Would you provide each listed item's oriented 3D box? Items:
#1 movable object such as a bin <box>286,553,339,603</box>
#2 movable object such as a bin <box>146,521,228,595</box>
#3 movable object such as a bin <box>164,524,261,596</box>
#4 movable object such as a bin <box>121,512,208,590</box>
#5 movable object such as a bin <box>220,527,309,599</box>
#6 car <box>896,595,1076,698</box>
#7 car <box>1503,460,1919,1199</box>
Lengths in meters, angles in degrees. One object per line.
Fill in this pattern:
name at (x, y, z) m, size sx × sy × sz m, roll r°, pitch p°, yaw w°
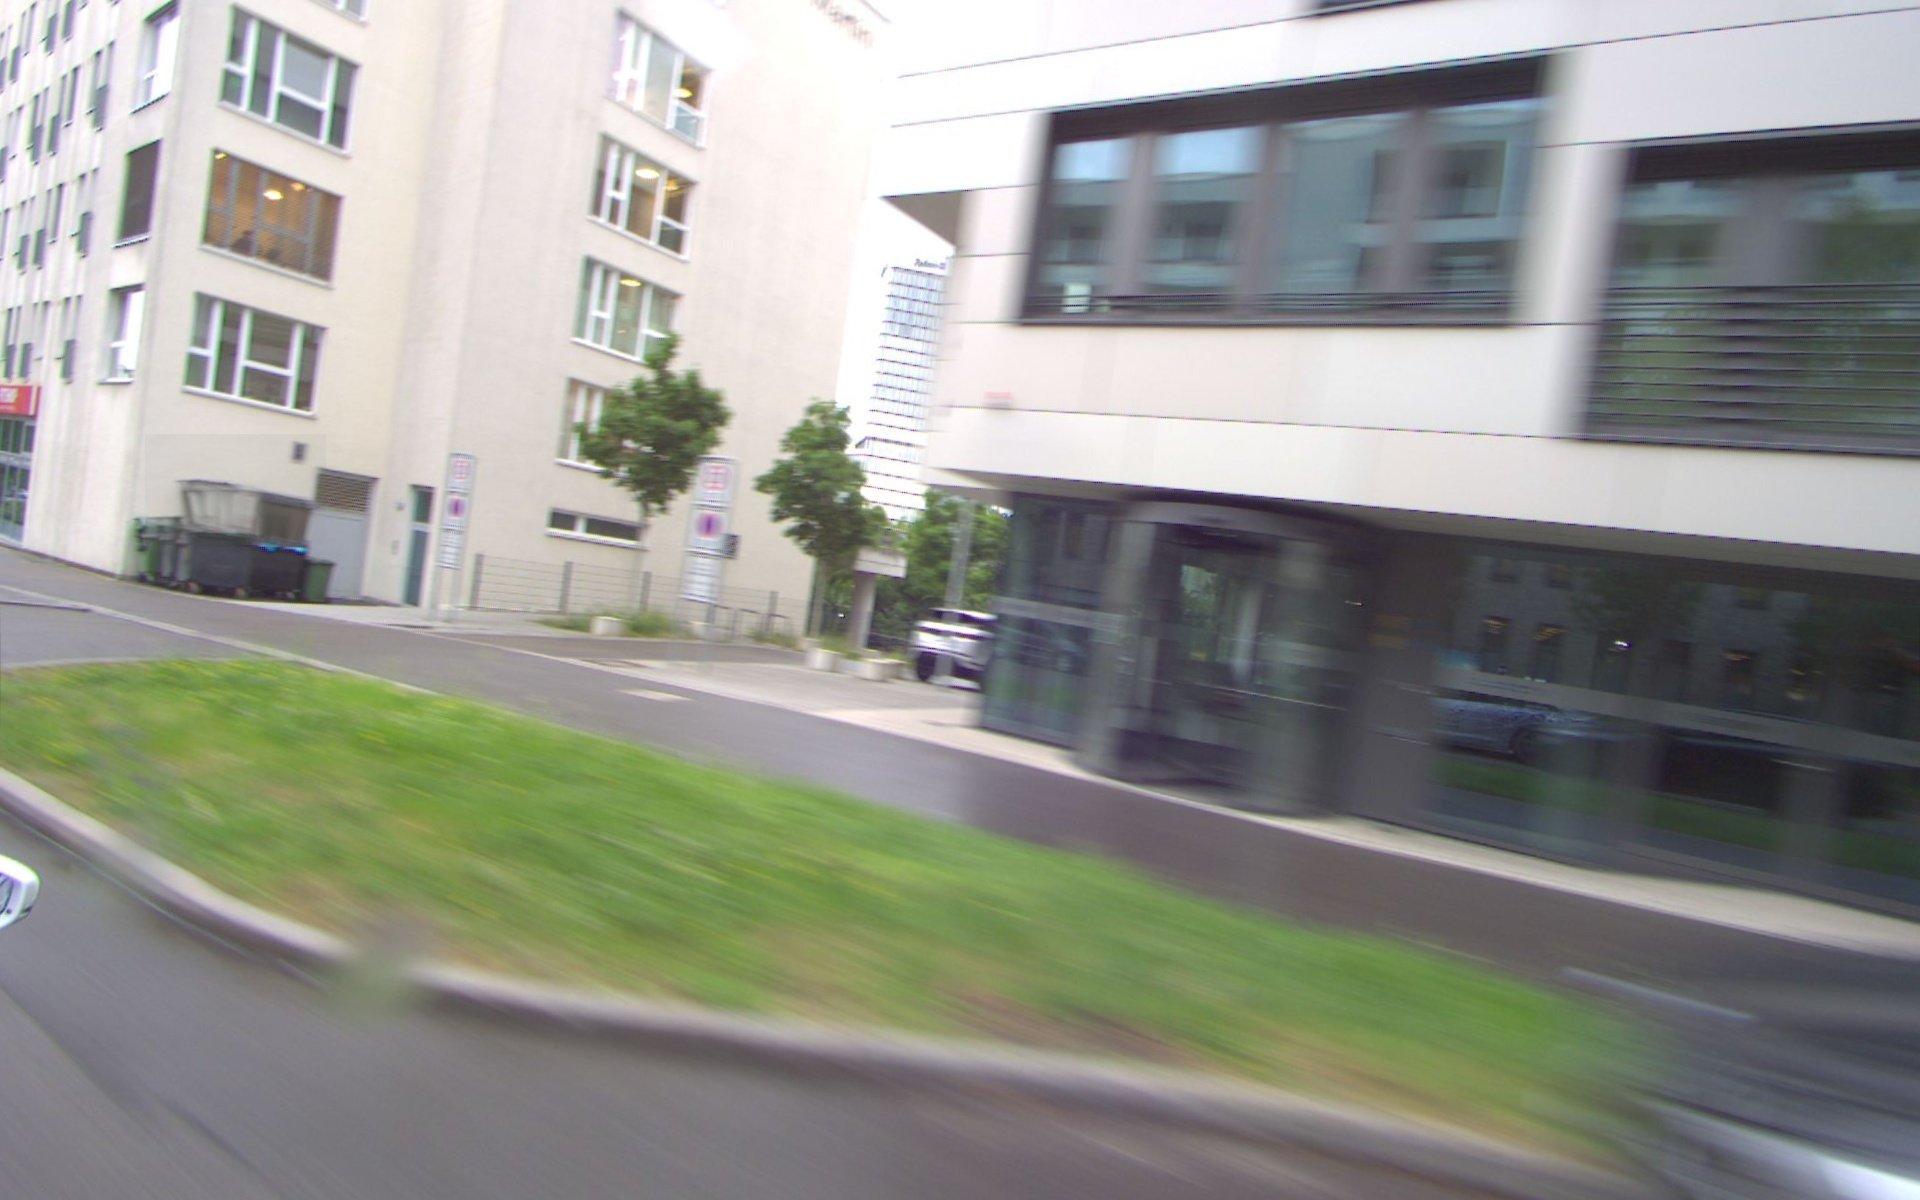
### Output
movable object such as a bin at (-15.347, -0.525, 23.856) m, size 0.839 × 1.039 × 0.699 m, roll 7°, pitch 0°, yaw 34°
movable object such as a bin at (-16.795, -0.908, 21.867) m, size 1.040 × 1.420 × 1.022 m, roll 7°, pitch 0°, yaw 34°
movable object such as a bin at (-15.851, -0.844, 21.344) m, size 1.172 × 1.336 × 1.235 m, roll 6°, pitch 0°, yaw 33°
movable object such as a bin at (-17.691, -1.078, 22.380) m, size 0.997 × 1.521 × 1.174 m, roll 7°, pitch 0°, yaw 34°
movable object such as a bin at (-15.881, -0.831, 22.990) m, size 1.094 × 1.420 × 1.262 m, roll 7°, pitch 0°, yaw 34°
car at (0.668, 1.064, 21.704) m, size 1.864 × 1.633 × 3.995 m, roll 7°, pitch -4°, yaw 34°
car at (3.256, 0.983, 1.018) m, size 4.633 × 1.699 × 1.811 m, roll 8°, pitch 0°, yaw 31°
